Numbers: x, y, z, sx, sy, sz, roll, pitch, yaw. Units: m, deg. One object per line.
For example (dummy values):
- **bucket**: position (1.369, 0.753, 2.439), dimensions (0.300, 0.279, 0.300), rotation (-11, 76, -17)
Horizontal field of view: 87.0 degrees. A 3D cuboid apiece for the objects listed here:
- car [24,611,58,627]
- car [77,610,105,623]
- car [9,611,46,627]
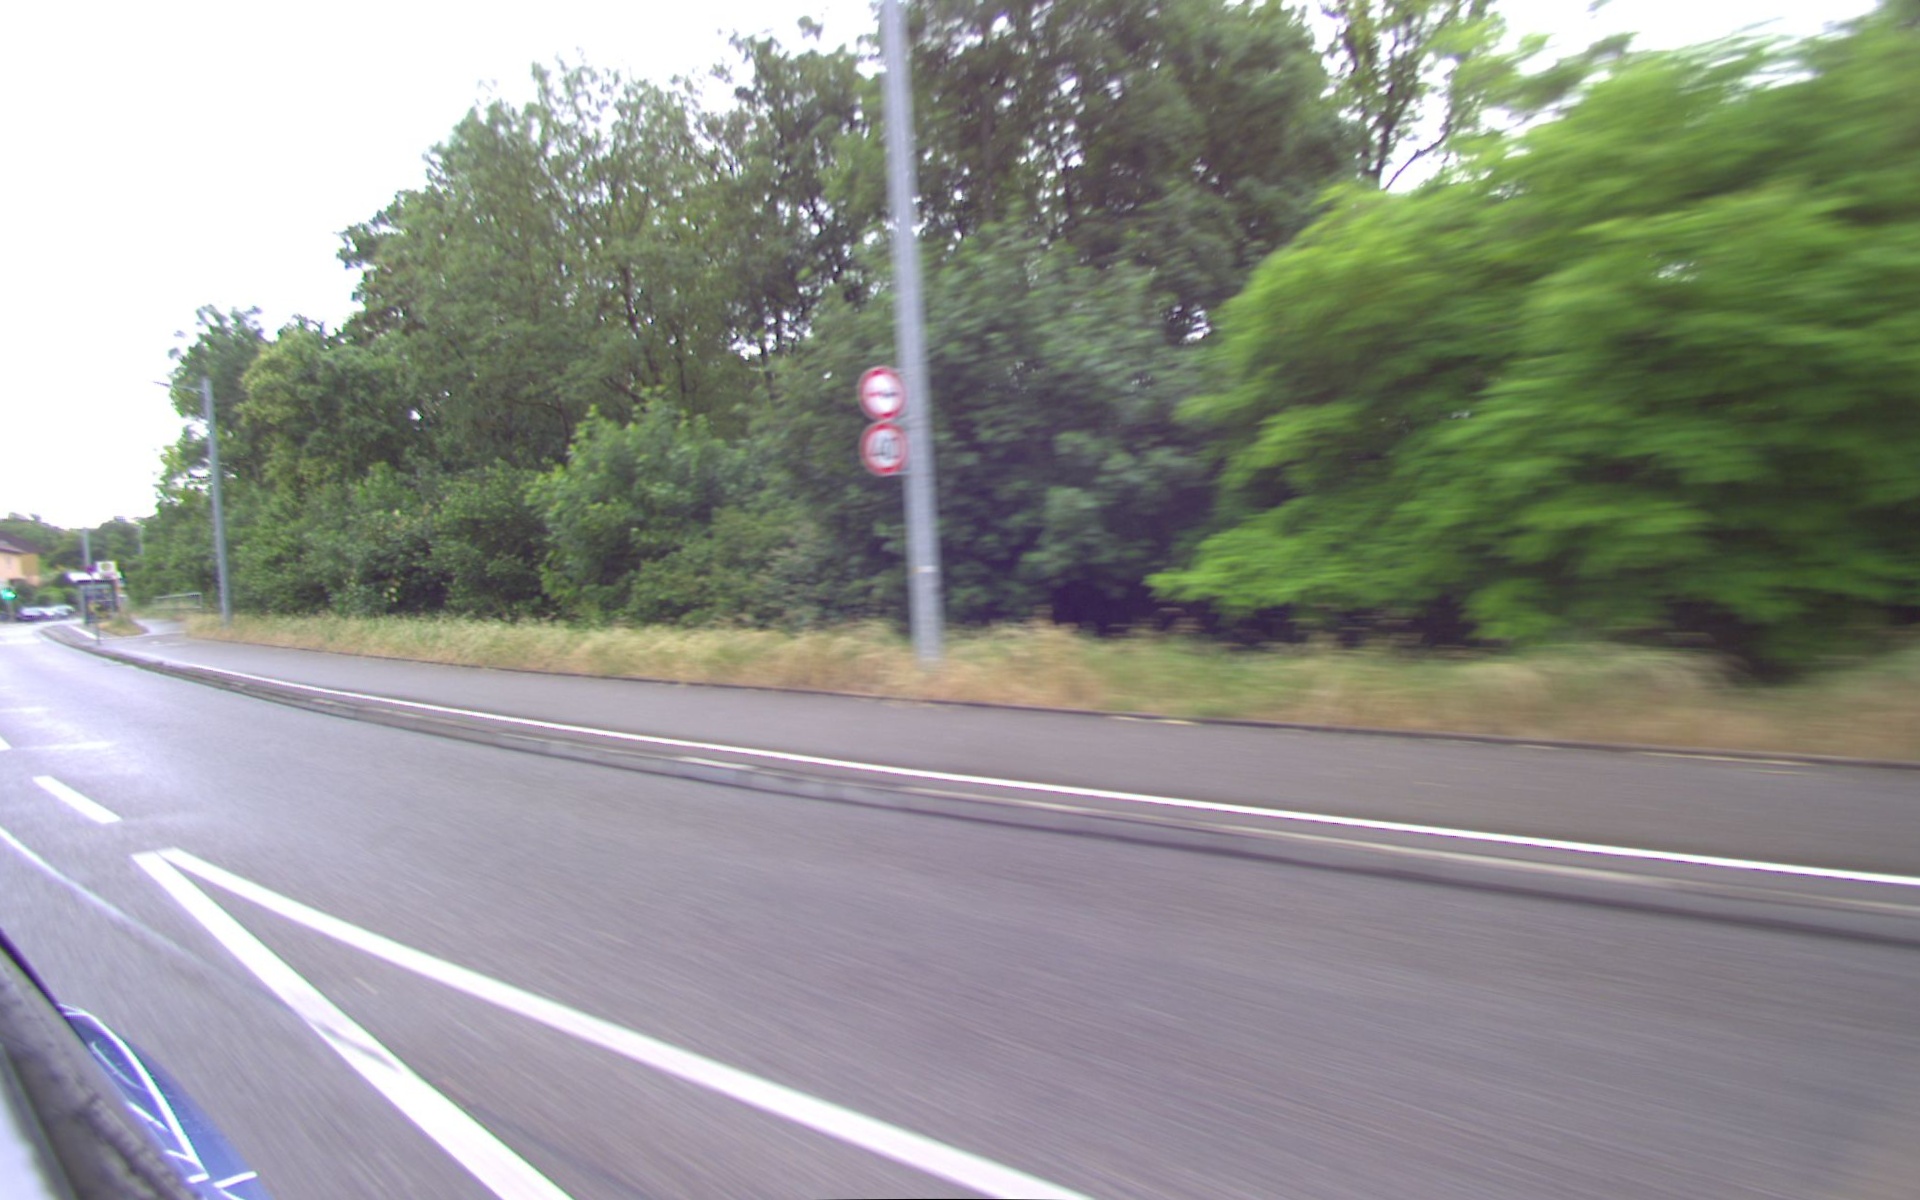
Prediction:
- **car**: position (-97.203, 1.982, 107.071), dimensions (1.768, 1.497, 4.509), rotation (-3, 2, -31)
- **car**: position (-108.501, 2.087, 126.389), dimensions (1.788, 1.408, 4.116), rotation (-3, 2, -29)
- **car**: position (-94.436, 1.907, 102.557), dimensions (1.727, 1.454, 4.615), rotation (-3, 2, -30)
